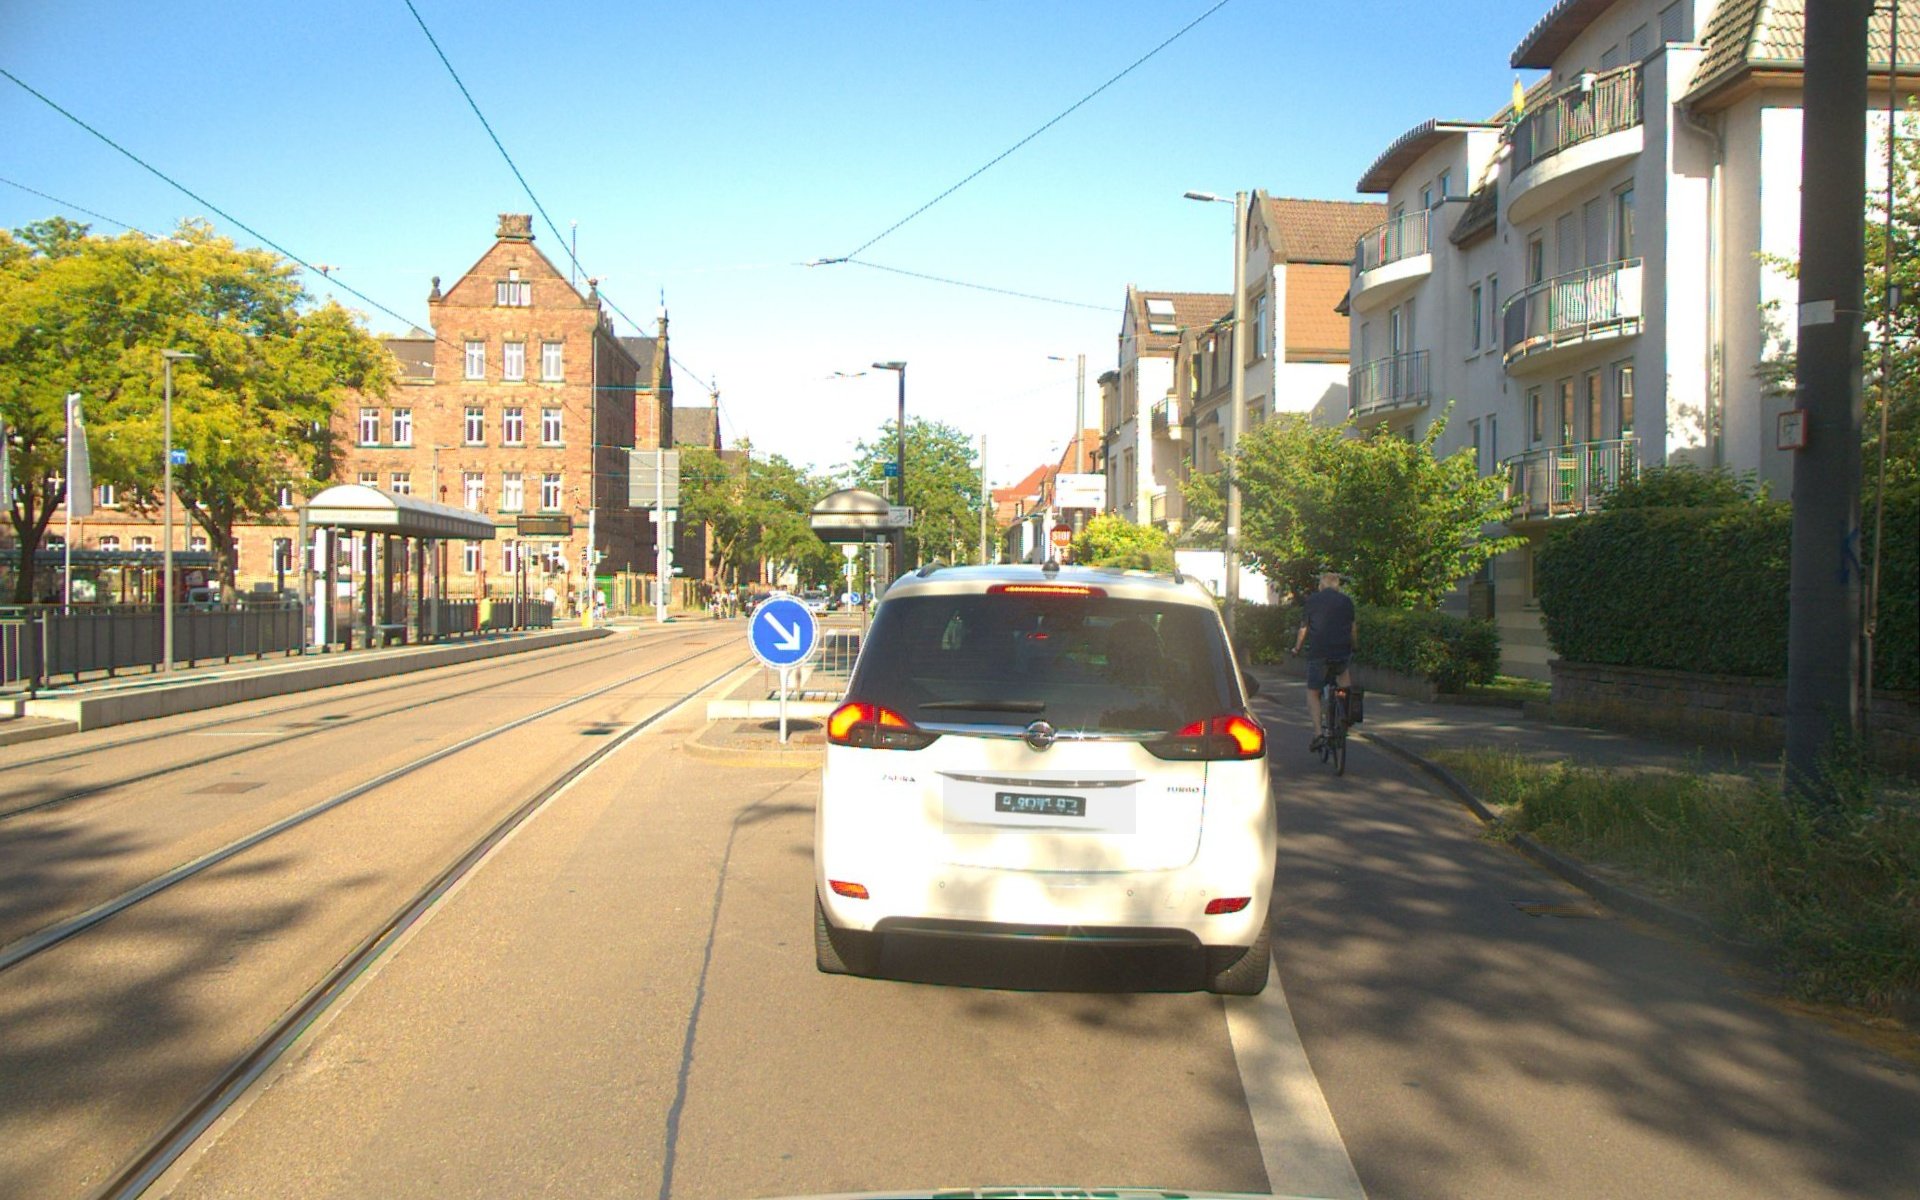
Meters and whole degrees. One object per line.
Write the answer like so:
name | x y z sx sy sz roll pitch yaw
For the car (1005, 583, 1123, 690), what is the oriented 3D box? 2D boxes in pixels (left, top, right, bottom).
car | 1.789 0.574 28.281 1.867 1.690 4.002 0 0 4

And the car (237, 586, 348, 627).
car | -28.113 0.268 69.742 3.908 1.658 1.817 1 0 -4

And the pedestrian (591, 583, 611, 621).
pedestrian | -19.252 0.114 88.663 0.789 2.049 0.711 1 -1 -38

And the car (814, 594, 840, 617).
car | -10.350 0.443 128.895 1.711 1.746 3.999 1 0 -1

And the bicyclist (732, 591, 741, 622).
bicyclist | -15.095 0.427 111.680 0.478 2.049 0.502 1 -1 -1

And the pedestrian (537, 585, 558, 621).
pedestrian | -22.104 0.158 88.670 0.791 1.934 0.744 1 -1 13

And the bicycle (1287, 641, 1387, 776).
bicycle | 3.474 0.970 15.371 0.611 1.116 1.974 0 0 4

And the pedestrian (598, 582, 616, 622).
pedestrian | -18.079 0.089 84.688 0.782 2.049 0.717 1 -1 -18

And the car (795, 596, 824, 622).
car | -10.465 0.598 115.039 1.711 1.746 3.999 1 0 -1

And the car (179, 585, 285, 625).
car | -32.444 0.222 73.816 3.908 1.658 1.817 1 0 -4

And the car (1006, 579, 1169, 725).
car | 1.680 0.585 21.002 1.866 1.653 4.003 0 0 6

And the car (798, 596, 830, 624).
car | -9.448 0.620 107.197 1.711 1.746 3.999 1 0 -1

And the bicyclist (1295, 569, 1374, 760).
bicyclist | 3.463 0.580 15.343 0.603 1.716 0.779 0 0 5

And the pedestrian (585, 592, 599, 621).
pedestrian | -21.122 0.370 94.949 0.640 1.640 0.711 1 -1 1

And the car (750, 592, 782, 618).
car | -13.301 0.357 113.494 1.711 1.746 3.999 1 0 -1

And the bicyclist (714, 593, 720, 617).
bicyclist | -15.100 0.291 102.798 0.307 1.469 0.384 0 0 -1

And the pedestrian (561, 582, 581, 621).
pedestrian | -20.706 0.085 88.019 0.788 2.049 0.712 1 -1 -34

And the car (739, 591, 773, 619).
car | -13.156 0.298 106.829 1.711 1.746 3.999 1 0 -1

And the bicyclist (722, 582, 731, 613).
bicyclist | -15.382 -0.178 108.847 0.488 2.049 0.572 0 0 -1

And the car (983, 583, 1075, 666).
car | 1.447 0.501 36.114 1.868 1.690 4.000 0 0 0

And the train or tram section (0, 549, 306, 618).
train or tram section | -40.746 -0.759 79.418 17.048 3.210 3.343 0 0 -6

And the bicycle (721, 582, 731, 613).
bicycle | -15.385 -0.178 108.841 0.477 2.049 1.405 0 0 -1

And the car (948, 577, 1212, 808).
car | 1.068 0.644 13.769 1.866 1.625 4.003 0 0 6

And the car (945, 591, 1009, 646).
car | 0.505 0.553 53.077 1.869 1.690 3.998 0 0 -2

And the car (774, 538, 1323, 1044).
car | 0.507 0.629 7.637 1.866 1.690 4.003 0 0 6
